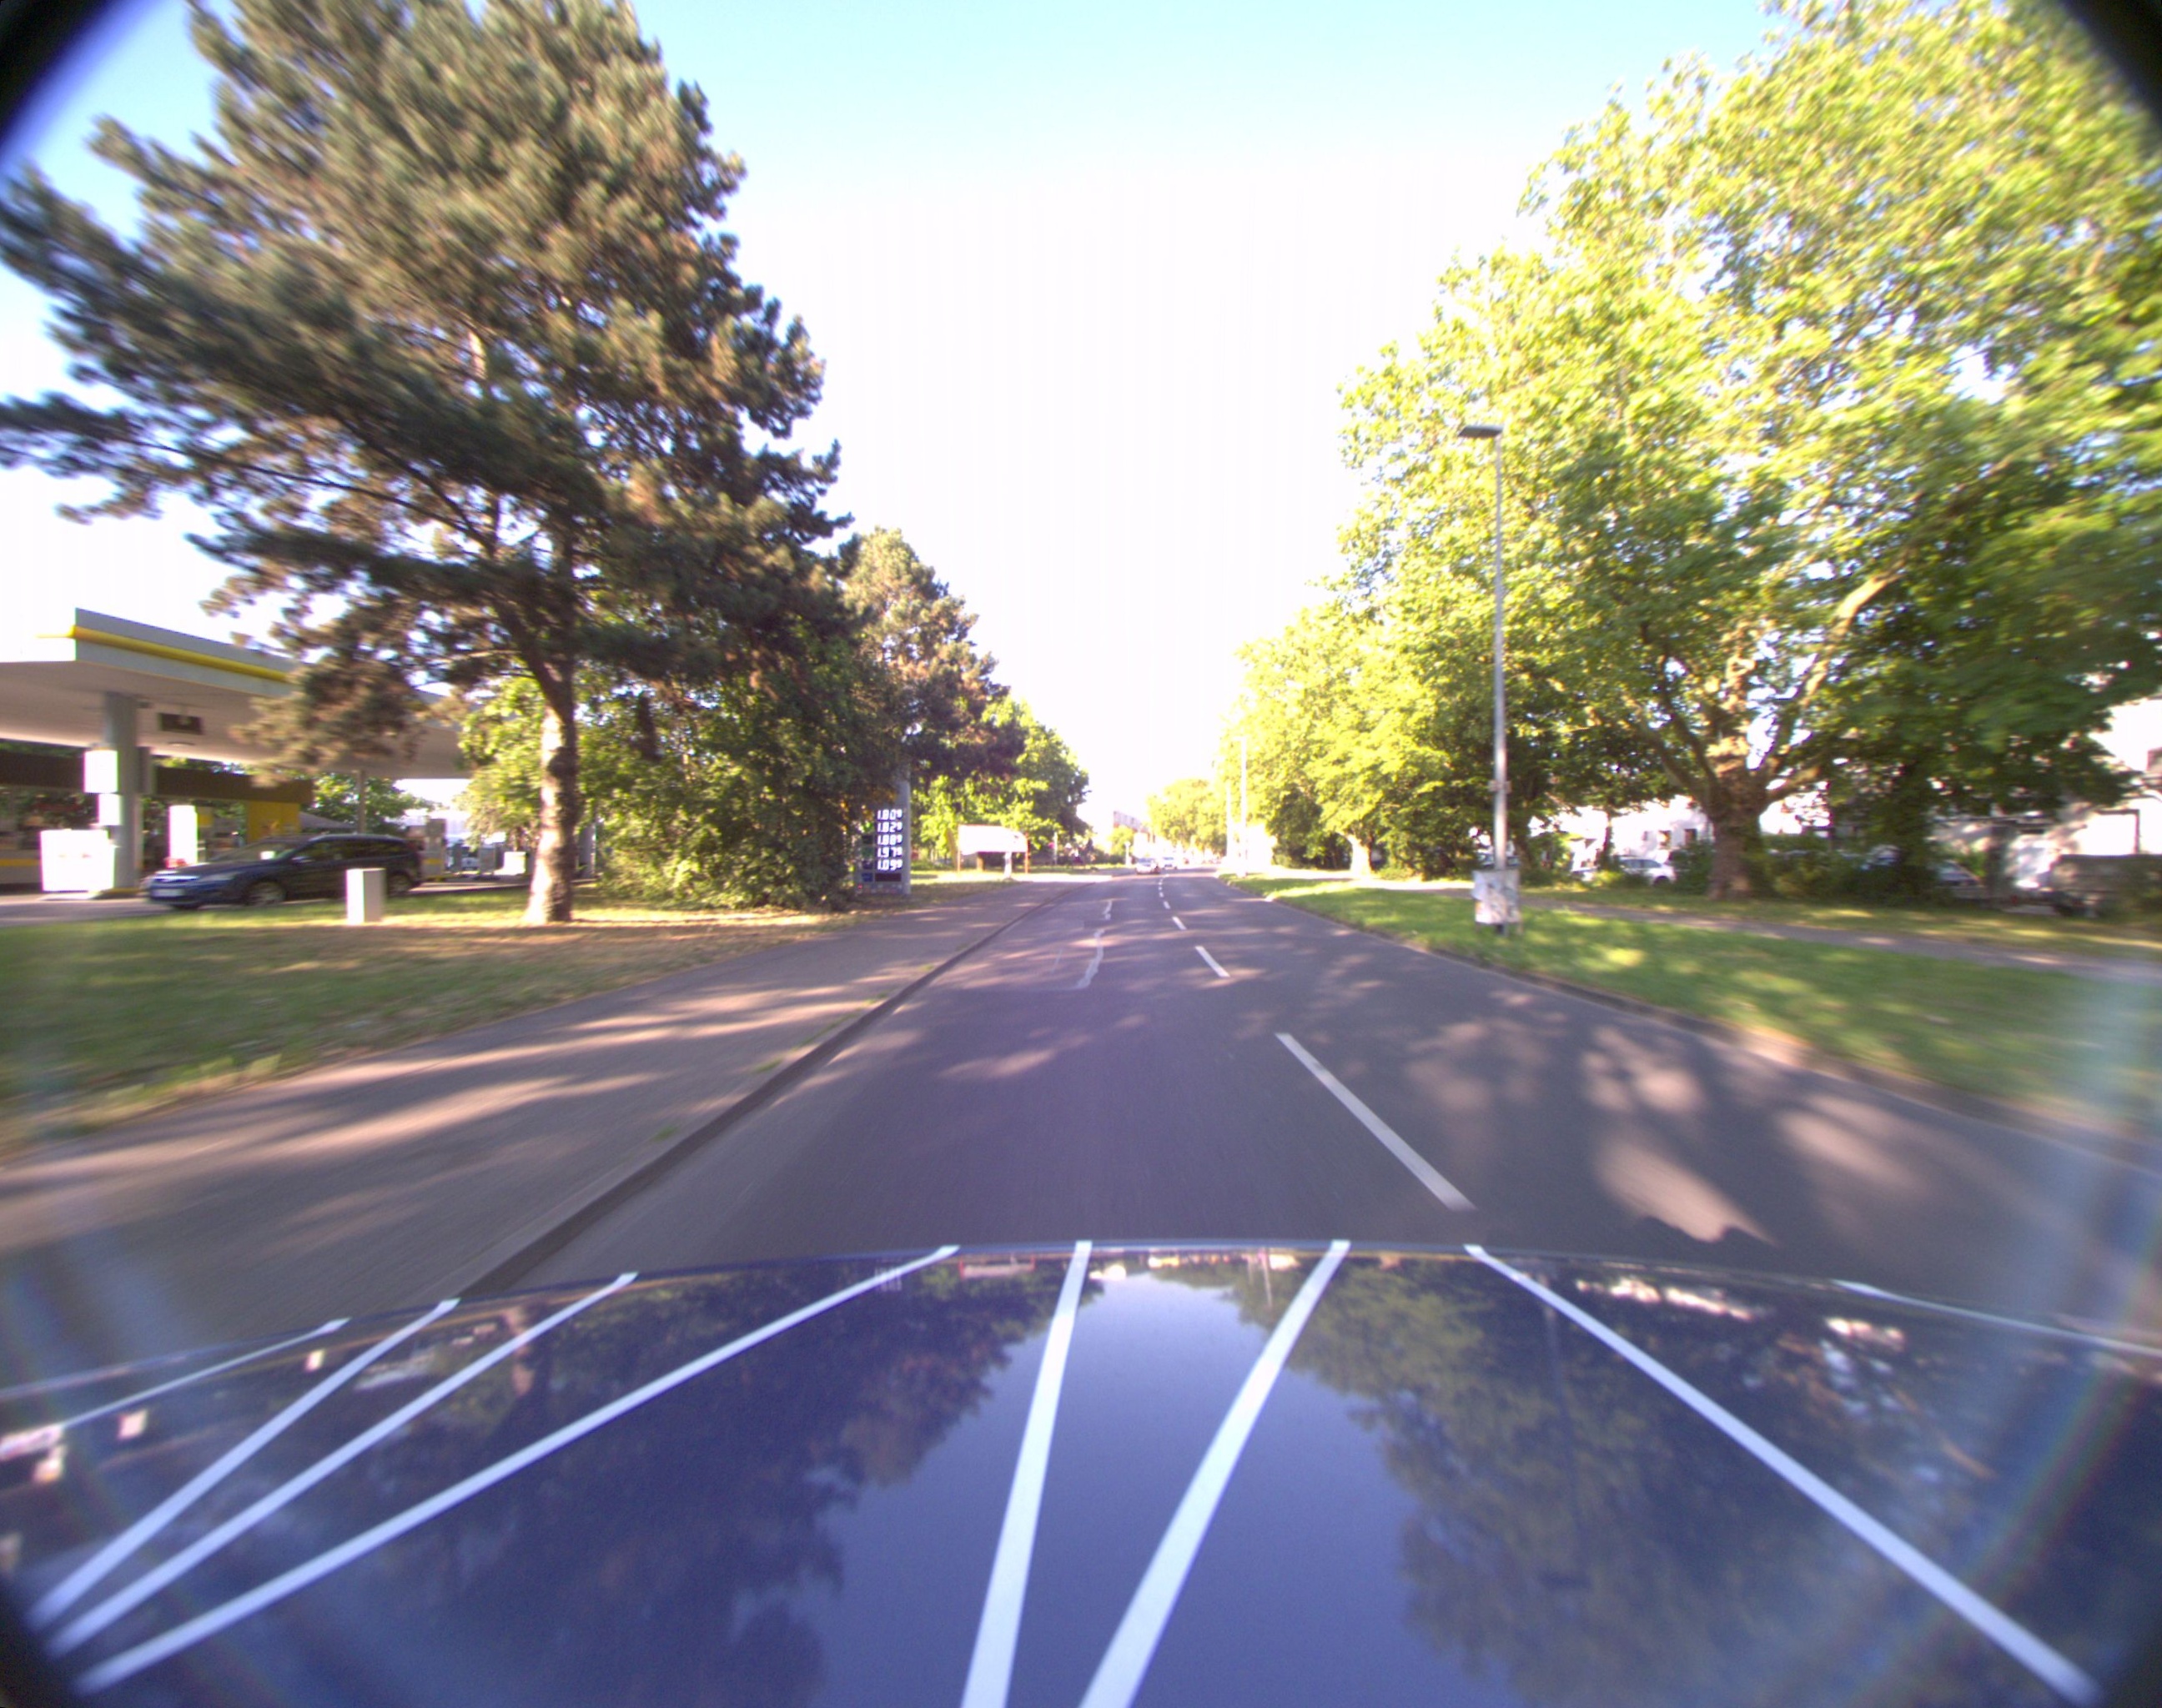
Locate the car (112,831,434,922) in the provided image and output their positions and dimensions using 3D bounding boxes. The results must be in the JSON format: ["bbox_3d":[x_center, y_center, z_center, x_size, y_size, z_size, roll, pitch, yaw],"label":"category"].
[{"bbox_3d":[-16.609,0.417,16.053,1.929,1.637,4.476,1,0,2],"label":"car"}]

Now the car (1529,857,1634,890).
[{"bbox_3d":[23.263,0.896,35.408,3.739,1.455,1.766,-1,0,0],"label":"car"}]

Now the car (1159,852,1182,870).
[{"bbox_3d":[10.218,0.773,86.513,1.932,2.002,4.004,1,1,15],"label":"car"}]

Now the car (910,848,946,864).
[{"bbox_3d":[-17.824,0.261,88.473,4.432,1.807,1.710,1,1,39],"label":"car"}]

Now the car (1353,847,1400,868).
[{"bbox_3d":[29.460,0.374,75.877,3.996,2.032,1.909,0,-2,3],"label":"car"}]

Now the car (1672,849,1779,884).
[{"bbox_3d":[38.096,0.729,44.999,4.555,2.002,2.000,0,1,2],"label":"car"}]

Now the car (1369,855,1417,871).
[{"bbox_3d":[29.734,0.851,72.431,3.937,1.374,1.694,1,0,7],"label":"car"}]

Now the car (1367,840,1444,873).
[{"bbox_3d":[26.886,0.192,63.195,5.440,2.487,2.188,2,0,8],"label":"car"}]

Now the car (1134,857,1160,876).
[{"bbox_3d":[5.233,0.965,60.521,1.869,1.471,4.087,1,0,3],"label":"car"}]

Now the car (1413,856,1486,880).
[{"bbox_3d":[25.823,0.995,53.351,4.133,1.586,1.954,1,0,3],"label":"car"}]

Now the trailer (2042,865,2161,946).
[{"bbox_3d":[23.145,1.041,15.658,3.996,1.546,2.000,1,0,2],"label":"trailer"}]

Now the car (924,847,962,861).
[{"bbox_3d":[-16.397,0.049,90.345,4.433,1.584,2.004,-1,0,39],"label":"car"}]

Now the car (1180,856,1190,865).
[{"bbox_3d":[19.762,1.217,144.168,1.600,1.679,4.341,1,0,13],"label":"car"}]

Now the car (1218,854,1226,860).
[{"bbox_3d":[44.934,0.961,241.886,1.898,1.581,4.076,1,0,21],"label":"car"}]
